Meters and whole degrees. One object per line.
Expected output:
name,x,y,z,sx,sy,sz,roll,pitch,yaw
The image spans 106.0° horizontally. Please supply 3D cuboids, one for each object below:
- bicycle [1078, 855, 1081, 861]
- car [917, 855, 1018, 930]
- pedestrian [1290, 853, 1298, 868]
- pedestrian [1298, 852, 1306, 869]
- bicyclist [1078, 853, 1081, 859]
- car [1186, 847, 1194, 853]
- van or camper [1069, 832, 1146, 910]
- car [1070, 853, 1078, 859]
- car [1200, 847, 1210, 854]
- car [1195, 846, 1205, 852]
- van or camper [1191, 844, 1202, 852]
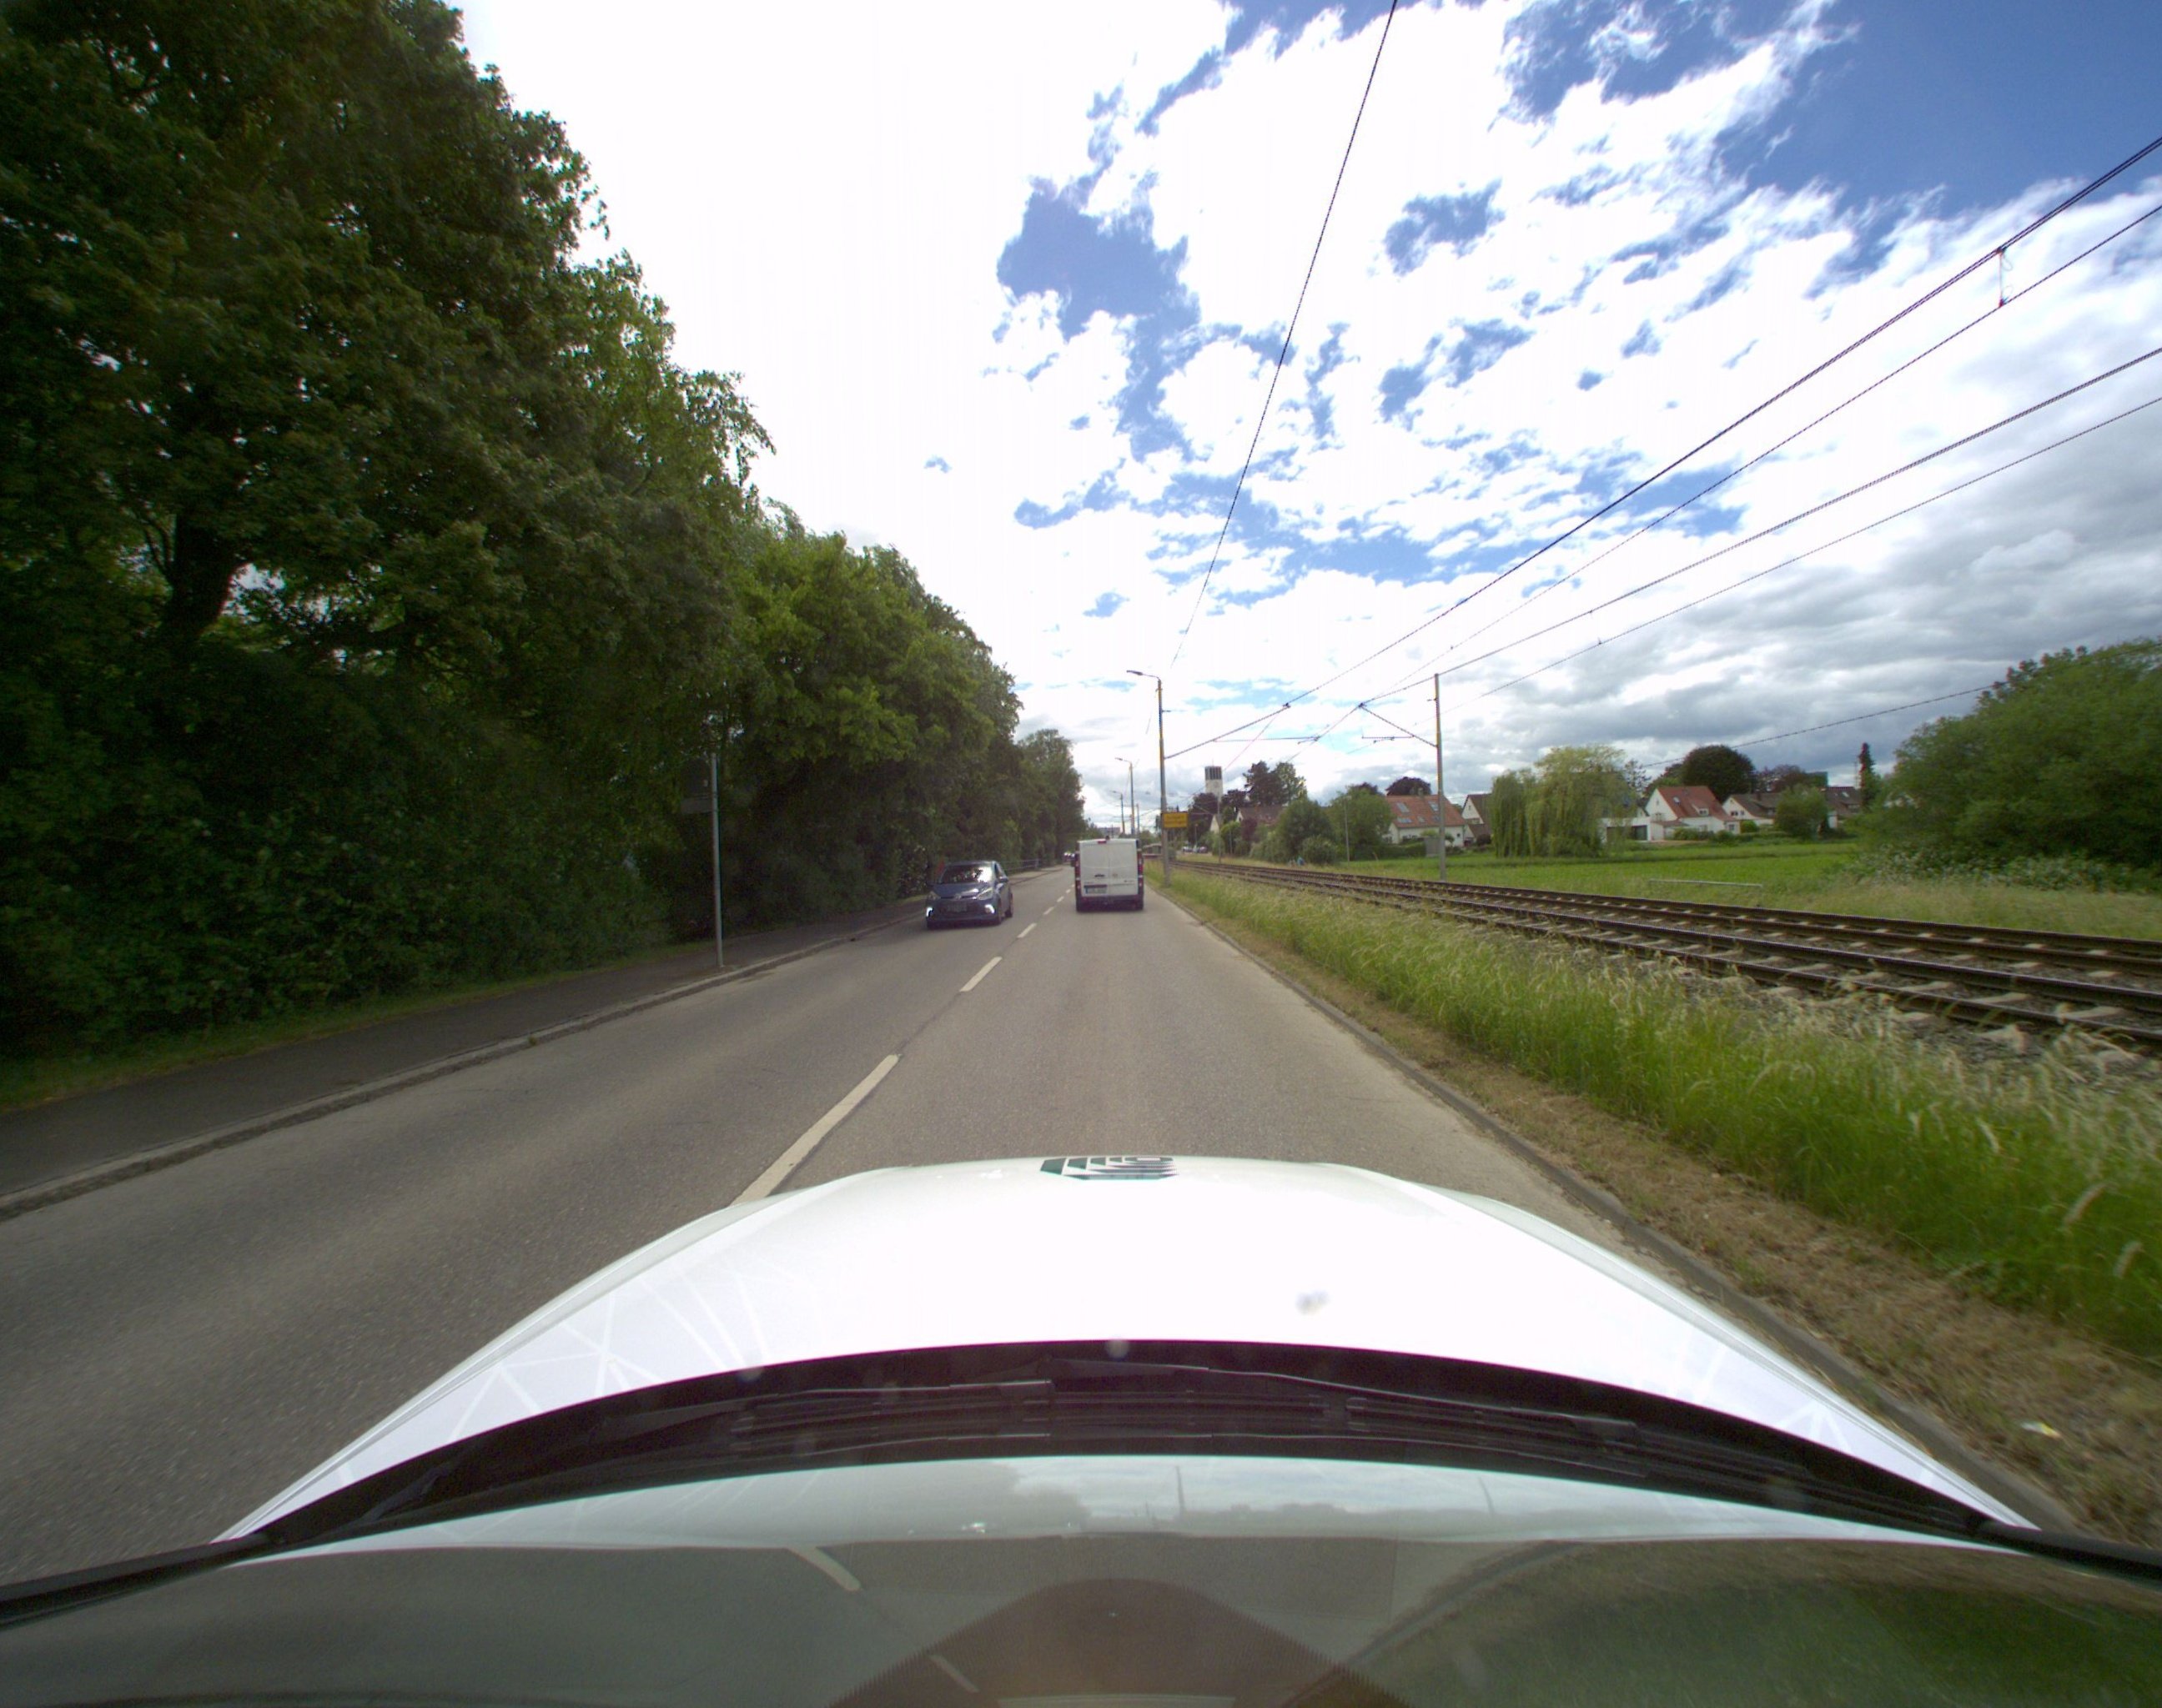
bicycle,-0.330,0.949,194.318,0.752,1.226,2.309,-4,0,1
car,-2.634,0.862,19.760,1.700,1.528,3.826,-4,0,2
pedestrian,20.438,0.654,77.974,0.595,1.430,0.667,-1,0,2
pedestrian,21.172,0.592,77.863,0.614,1.622,0.584,-1,0,1
bicyclist,-0.358,0.512,194.370,0.775,1.549,0.870,-3,0,1
car,29.665,-1.156,222.132,1.876,1.522,4.002,-3,0,2
van or camper,0.778,0.460,23.579,1.986,2.014,4.447,-1,0,2
car,-1.889,0.444,212.418,1.734,1.504,4.470,-4,0,-5
car,28.783,-0.750,189.574,1.876,1.522,4.002,-3,0,2
car,28.588,-1.223,195.711,1.876,1.522,4.002,-3,0,2
van or camper,28.407,-1.386,200.441,1.898,1.826,5.050,-3,0,2
